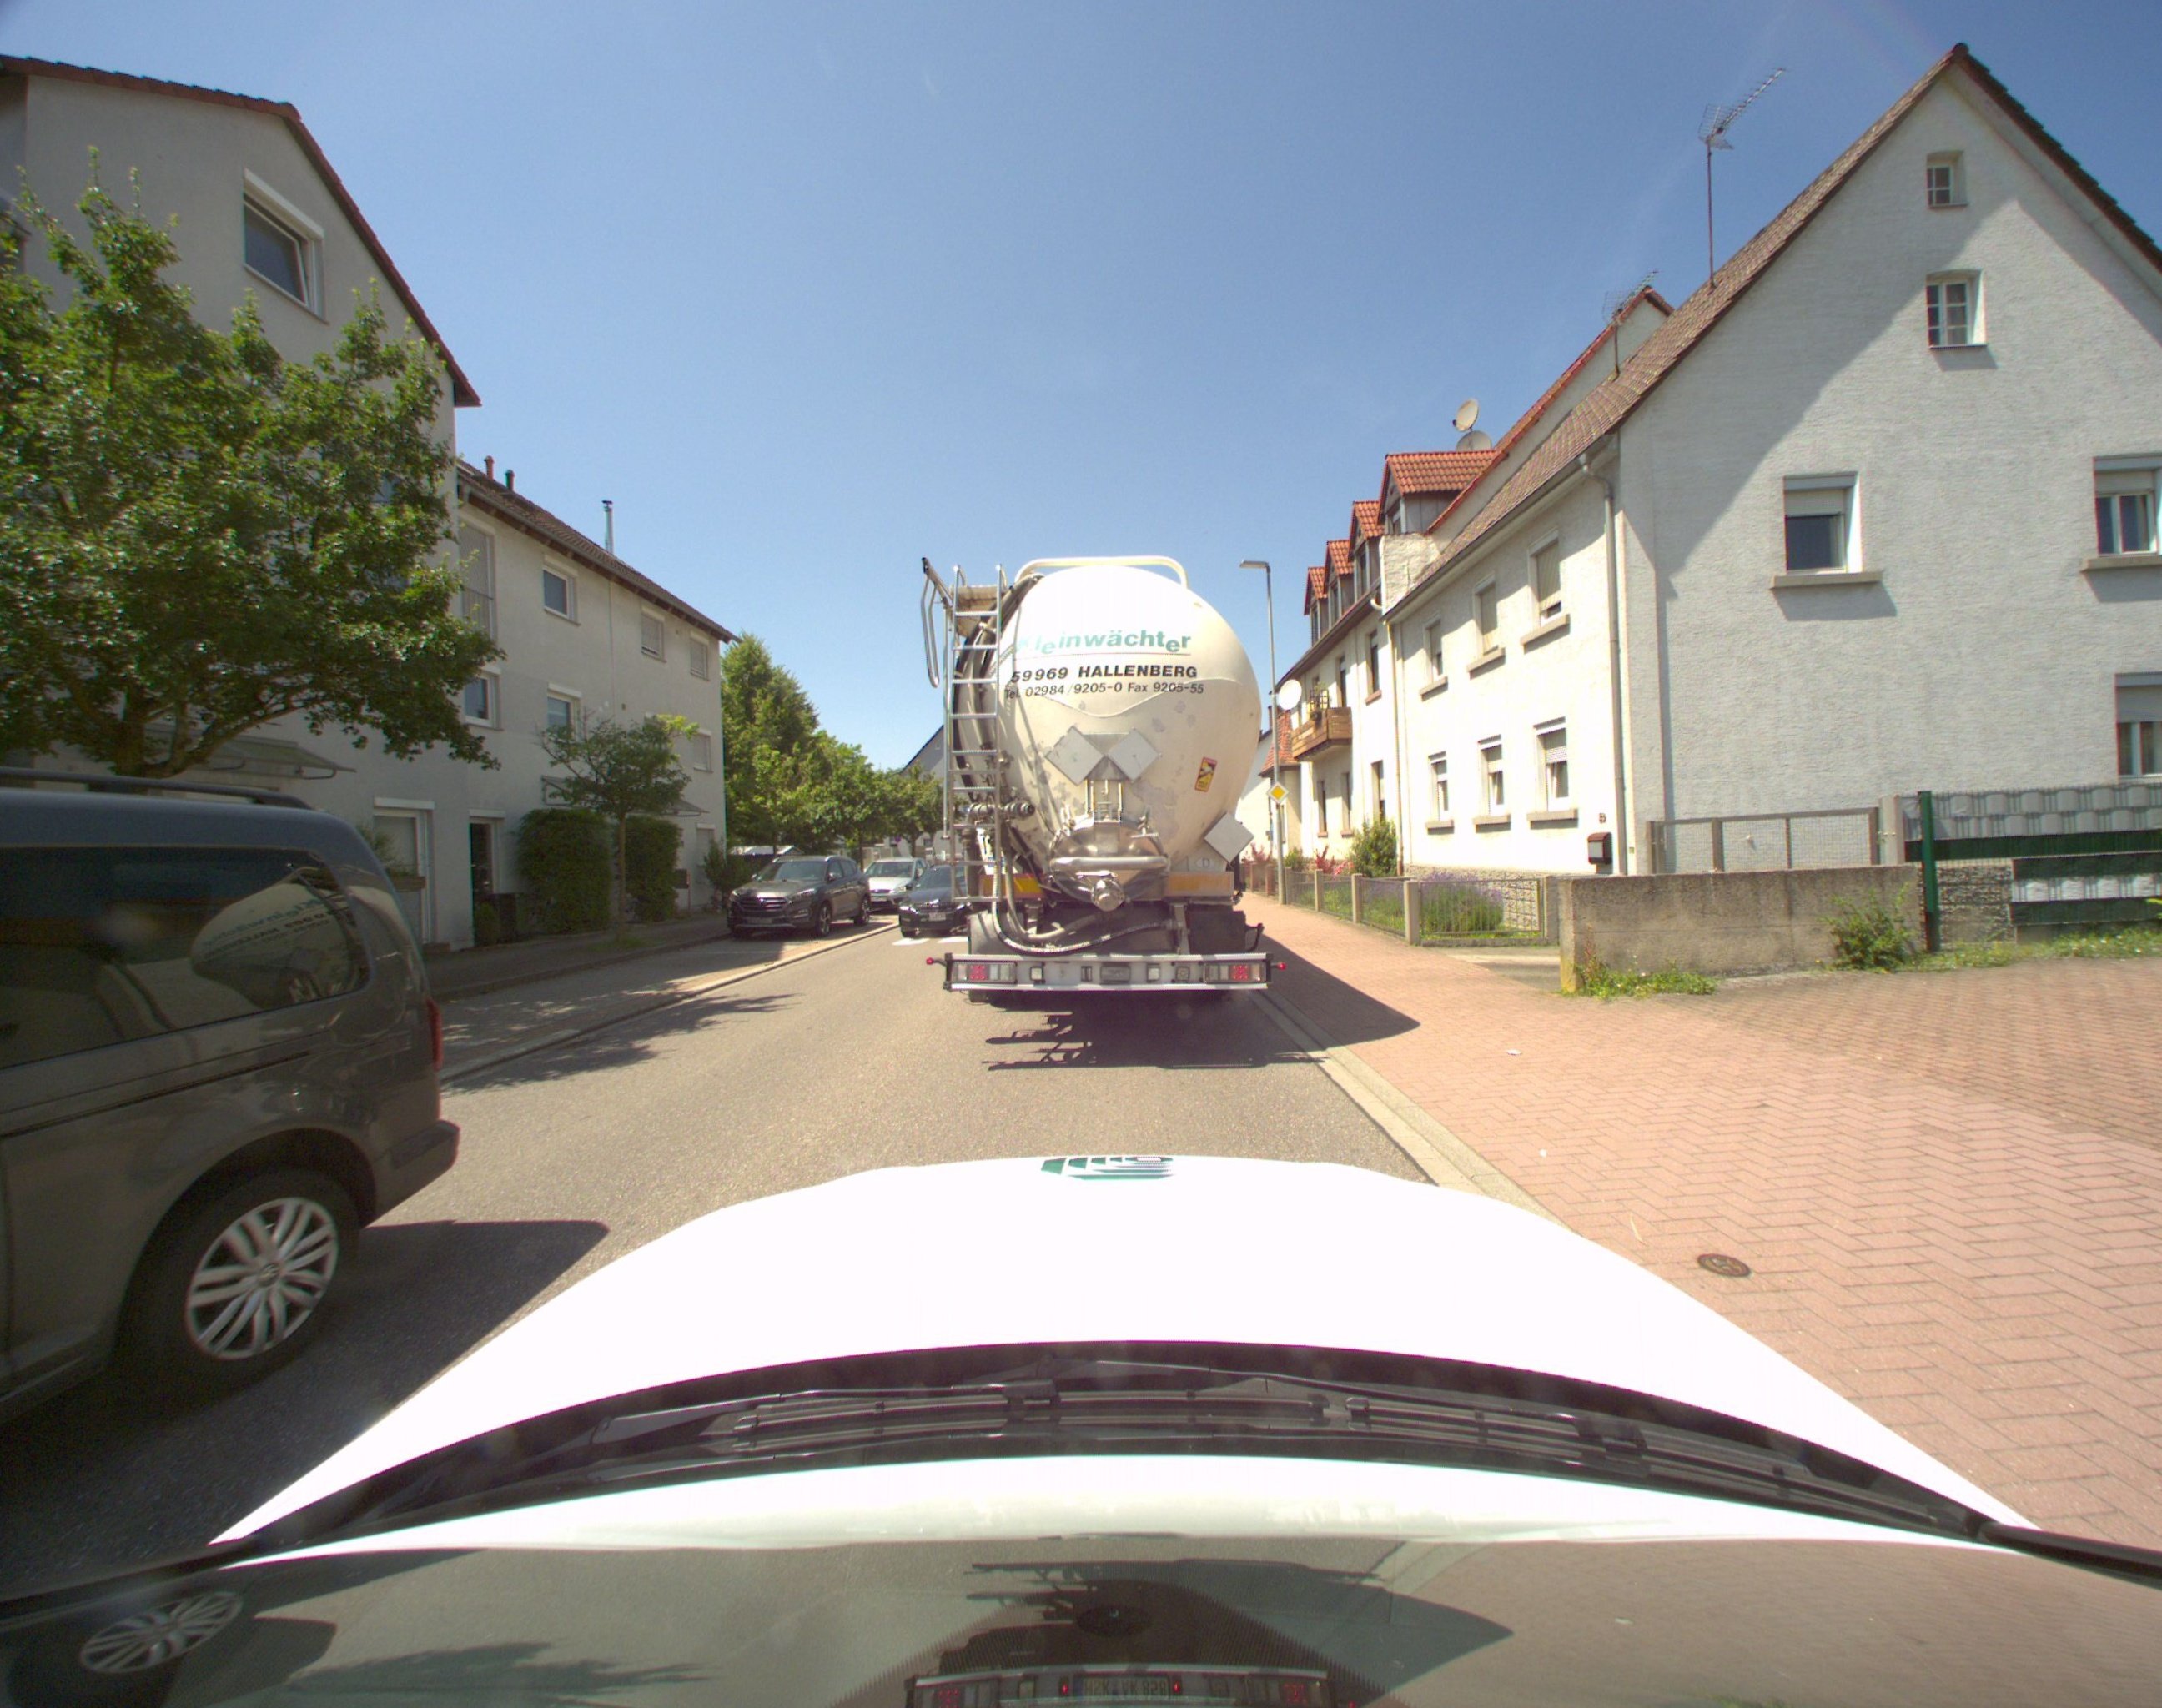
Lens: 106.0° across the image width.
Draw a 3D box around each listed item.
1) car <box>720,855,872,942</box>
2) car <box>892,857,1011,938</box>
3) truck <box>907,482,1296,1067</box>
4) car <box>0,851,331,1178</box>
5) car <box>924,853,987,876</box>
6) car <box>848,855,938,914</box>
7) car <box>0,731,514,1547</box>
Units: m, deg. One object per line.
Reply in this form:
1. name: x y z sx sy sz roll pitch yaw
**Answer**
1. car: -5.939 0.843 17.508 1.685 1.620 3.999 -1 0 2
2. car: -2.717 0.857 18.029 1.712 1.446 4.257 -4 0 2
3. truck: 0.309 -0.558 10.453 2.631 4.015 9.566 -1 0 2
4. car: -6.452 0.844 3.769 1.700 1.686 4.526 -1 0 1
5. car: -10.024 0.803 64.983 4.597 1.651 1.745 -2 0 9
6. car: -5.490 0.843 24.204 1.691 1.581 3.838 -1 0 1
7. car: -3.336 0.688 1.212 1.649 1.855 4.466 -3 0 2
